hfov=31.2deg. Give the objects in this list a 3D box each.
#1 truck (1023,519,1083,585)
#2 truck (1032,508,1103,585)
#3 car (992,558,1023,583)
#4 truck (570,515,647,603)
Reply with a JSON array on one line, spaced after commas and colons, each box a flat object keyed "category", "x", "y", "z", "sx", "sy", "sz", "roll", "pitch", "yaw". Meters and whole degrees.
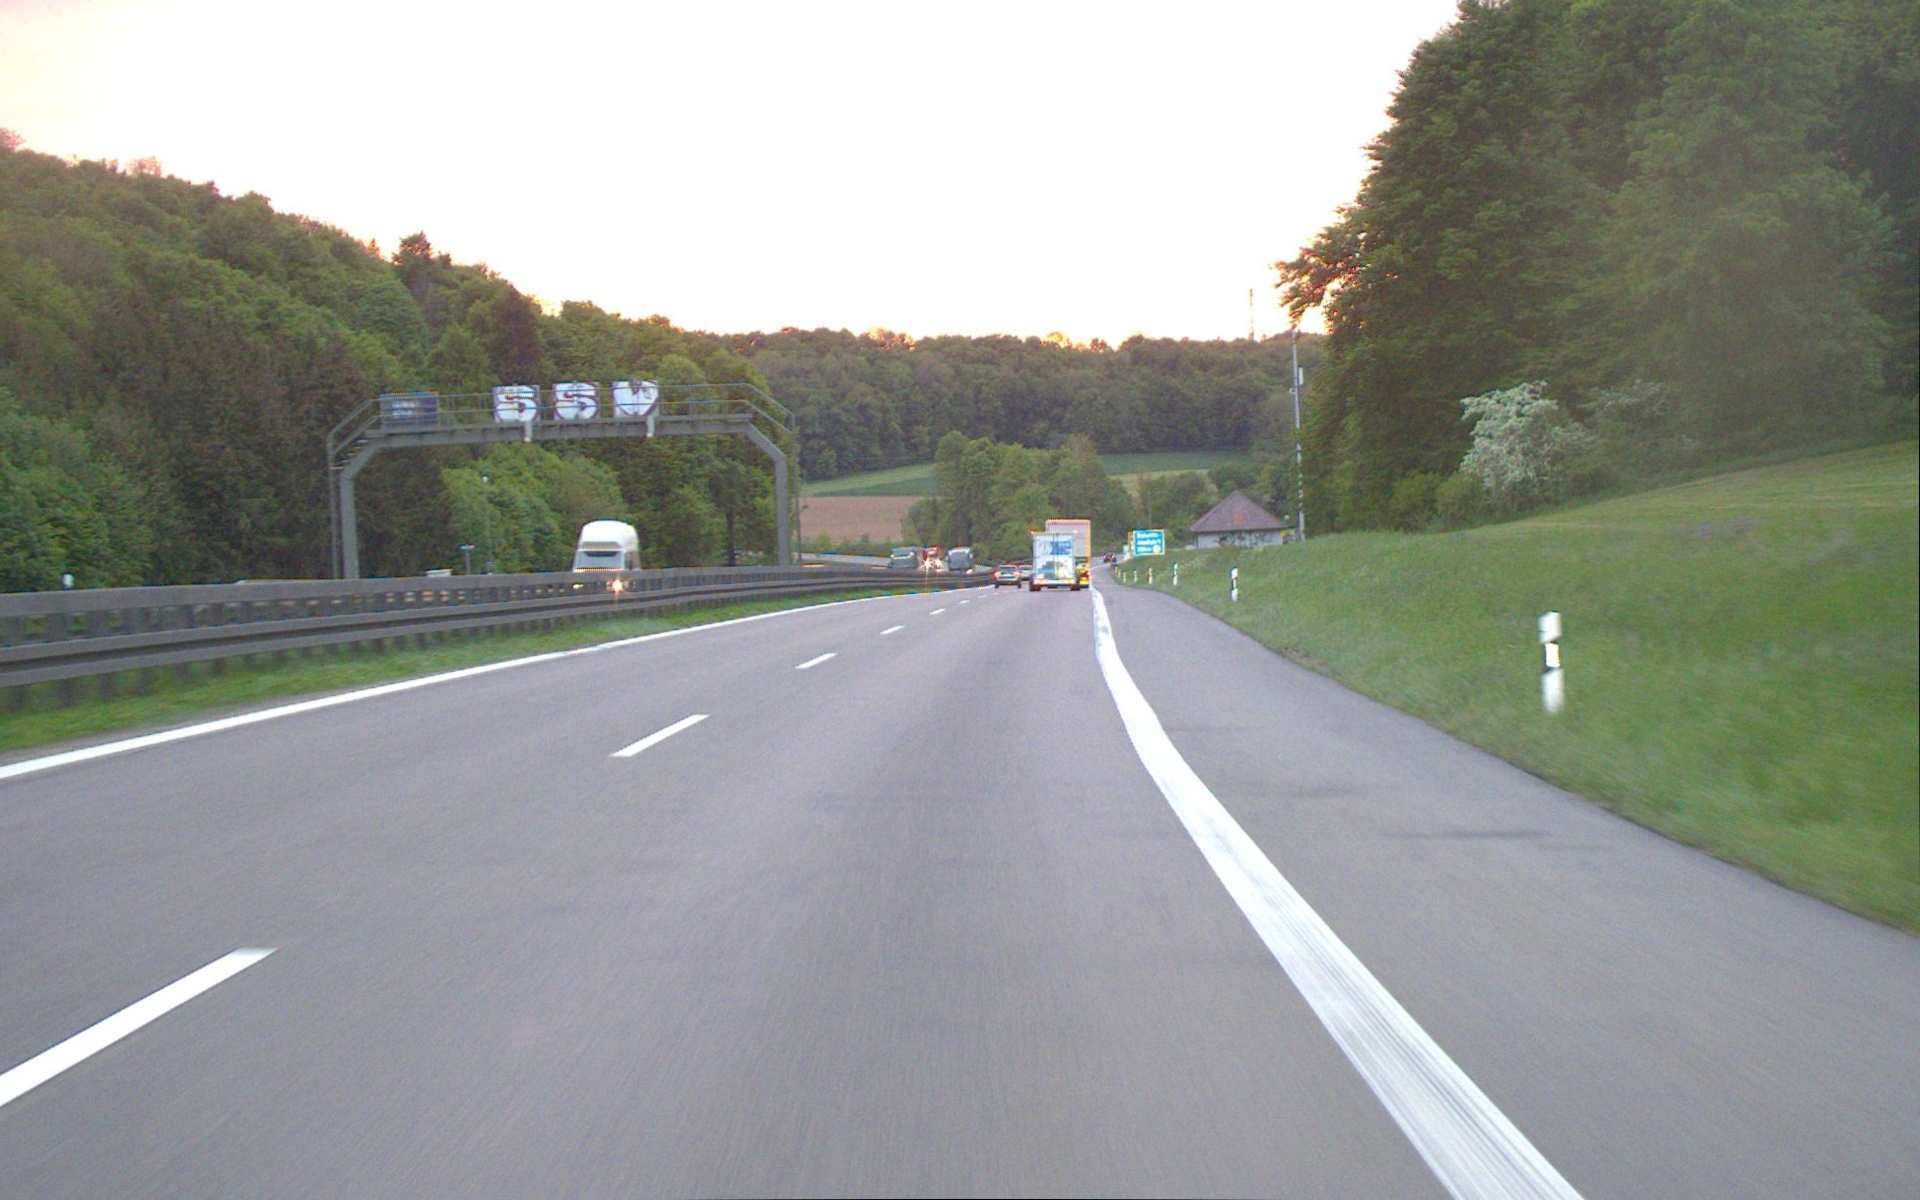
[{"category": "truck", "x": 4.190, "y": -2.167, "z": 153.824, "sx": 2.276, "sy": 2.655, "sz": 5.236, "roll": -2, "pitch": 3, "yaw": 6}, {"category": "truck", "x": 6.374, "y": -3.251, "z": 204.713, "sx": 3.958, "sy": 4.272, "sz": 14.324, "roll": -1, "pitch": 2, "yaw": 2}, {"category": "car", "x": 3.178, "y": -1.966, "z": 228.186, "sx": 1.993, "sy": 1.512, "sz": 4.000, "roll": -1, "pitch": 2, "yaw": 1}, {"category": "truck", "x": -12.628, "y": -1.500, "z": 123.956, "sx": 1.993, "sy": 3.057, "sz": 5.594, "roll": 0, "pitch": 1, "yaw": 2}]
